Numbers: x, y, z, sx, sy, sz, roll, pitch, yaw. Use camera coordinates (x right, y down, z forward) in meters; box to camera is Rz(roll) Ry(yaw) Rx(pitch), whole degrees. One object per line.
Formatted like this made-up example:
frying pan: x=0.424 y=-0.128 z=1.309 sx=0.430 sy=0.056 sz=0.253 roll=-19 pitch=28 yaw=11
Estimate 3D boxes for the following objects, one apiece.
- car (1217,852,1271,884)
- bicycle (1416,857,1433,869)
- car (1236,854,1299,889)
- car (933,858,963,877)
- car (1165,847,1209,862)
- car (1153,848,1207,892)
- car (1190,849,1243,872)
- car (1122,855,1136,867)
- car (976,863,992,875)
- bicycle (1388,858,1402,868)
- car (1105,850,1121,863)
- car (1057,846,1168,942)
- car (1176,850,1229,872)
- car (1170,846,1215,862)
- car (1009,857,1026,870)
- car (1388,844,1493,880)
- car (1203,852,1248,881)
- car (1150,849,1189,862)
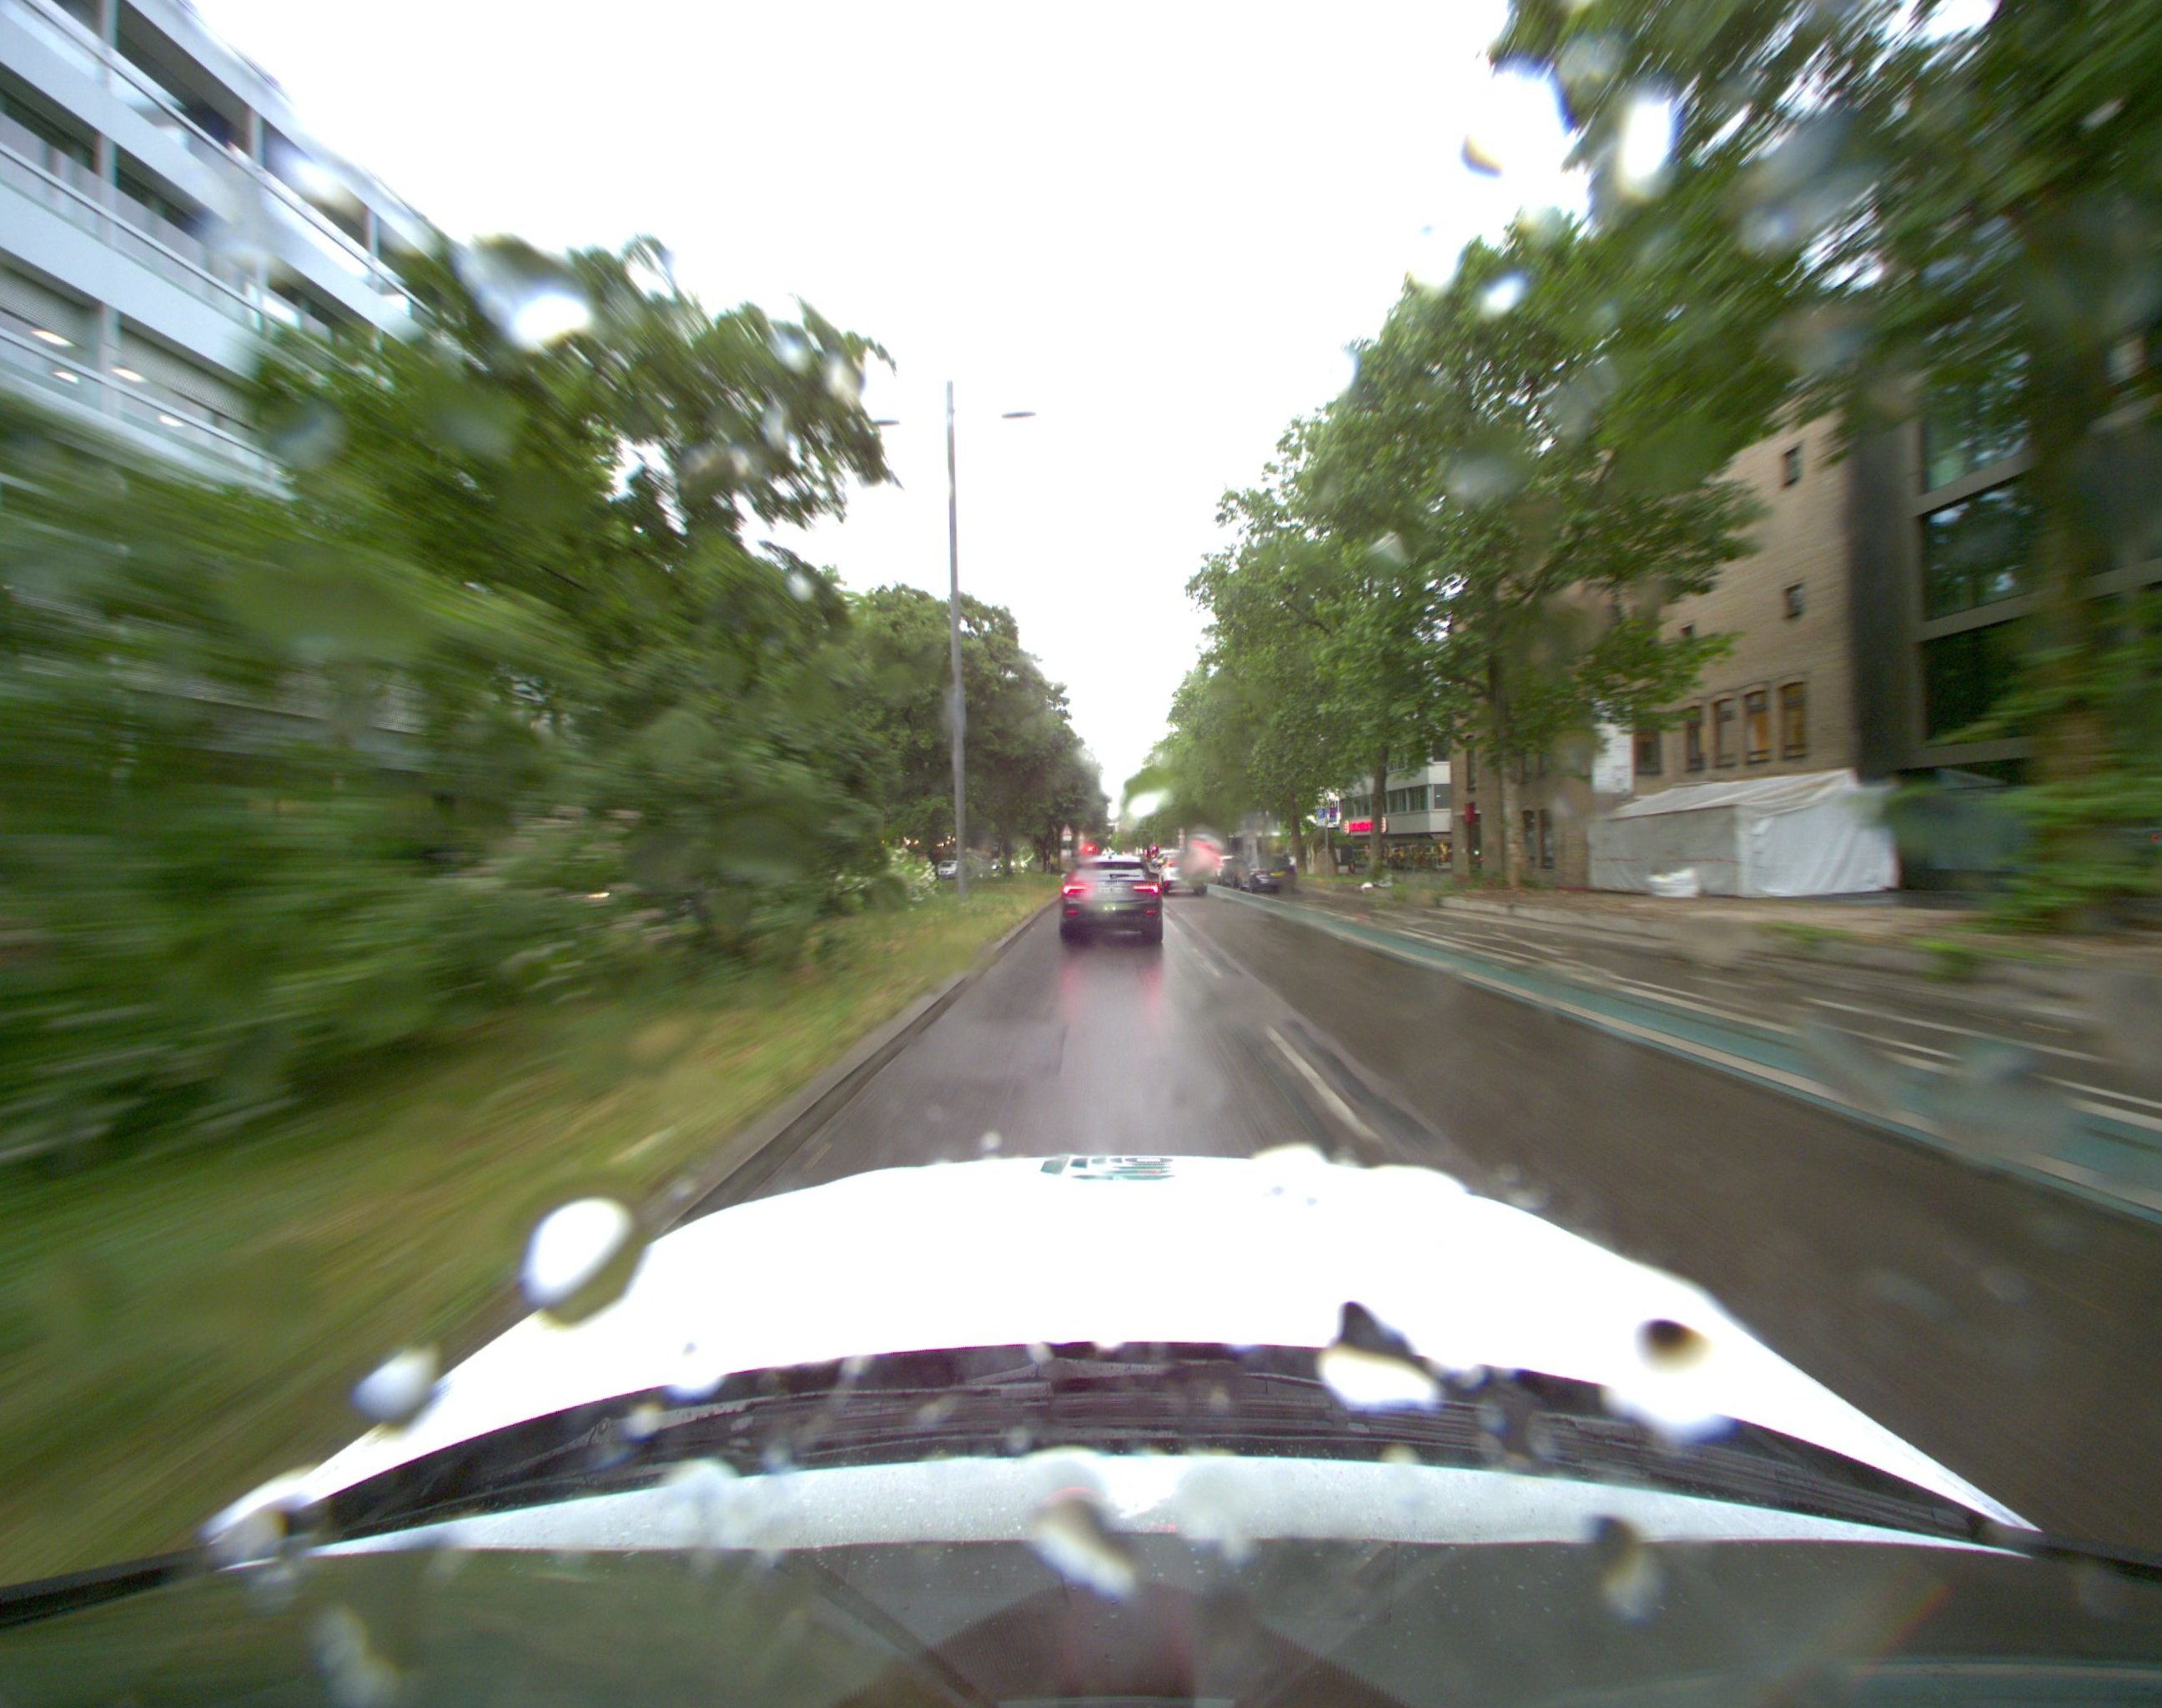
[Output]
car: x=8.323 y=0.724 z=41.940 sx=1.861 sy=1.520 sz=4.558 roll=1 pitch=-1 yaw=0
bicycle: x=25.639 y=0.663 z=60.801 sx=0.446 sy=0.836 sz=2.027 roll=1 pitch=-1 yaw=2
car: x=8.157 y=0.760 z=36.012 sx=1.866 sy=1.421 sz=4.612 roll=1 pitch=-1 yaw=1
car: x=-10.696 y=1.062 z=65.717 sx=1.642 sy=1.435 sz=3.814 roll=-1 pitch=-1 yaw=3
car: x=12.183 y=0.063 z=94.052 sx=4.594 sy=1.706 sz=2.012 roll=0 pitch=-1 yaw=29
car: x=4.058 y=0.647 z=33.945 sx=1.871 sy=1.697 sz=4.001 roll=1 pitch=-1 yaw=2
car: x=13.664 y=0.648 z=82.217 sx=4.834 sy=2.254 sz=2.012 roll=0 pitch=-1 yaw=30
car: x=6.977 y=0.996 z=118.535 sx=1.986 sy=1.651 sz=4.001 roll=1 pitch=-1 yaw=2
car: x=-10.410 y=1.563 z=87.844 sx=1.687 sy=1.258 sz=3.636 roll=1 pitch=-1 yaw=-6
bicycle: x=25.621 y=0.726 z=66.447 sx=0.446 sy=0.836 sz=2.027 roll=1 pitch=-1 yaw=2
car: x=4.341 y=0.319 z=110.370 sx=1.986 sy=1.726 sz=4.000 roll=1 pitch=-1 yaw=1
car: x=0.554 y=0.686 z=15.646 sx=1.843 sy=1.602 sz=4.000 roll=0 pitch=0 yaw=1
car: x=11.476 y=0.668 z=76.931 sx=4.548 sy=2.014 sz=1.980 roll=0 pitch=-1 yaw=40
car: x=12.398 y=0.005 z=90.503 sx=4.594 sy=1.706 sz=2.012 roll=0 pitch=-1 yaw=29
car: x=-8.878 y=1.368 z=113.615 sx=1.753 sy=1.703 sz=4.337 roll=1 pitch=-1 yaw=4
car: x=11.305 y=0.250 z=25.629 sx=2.856 sy=1.074 sz=1.465 roll=0 pitch=-1 yaw=32
car: x=8.203 y=0.725 z=46.548 sx=1.723 sy=1.571 sz=4.069 roll=1 pitch=-1 yaw=-3
car: x=11.747 y=0.230 z=108.093 sx=4.594 sy=1.706 sz=2.012 roll=0 pitch=-1 yaw=29
